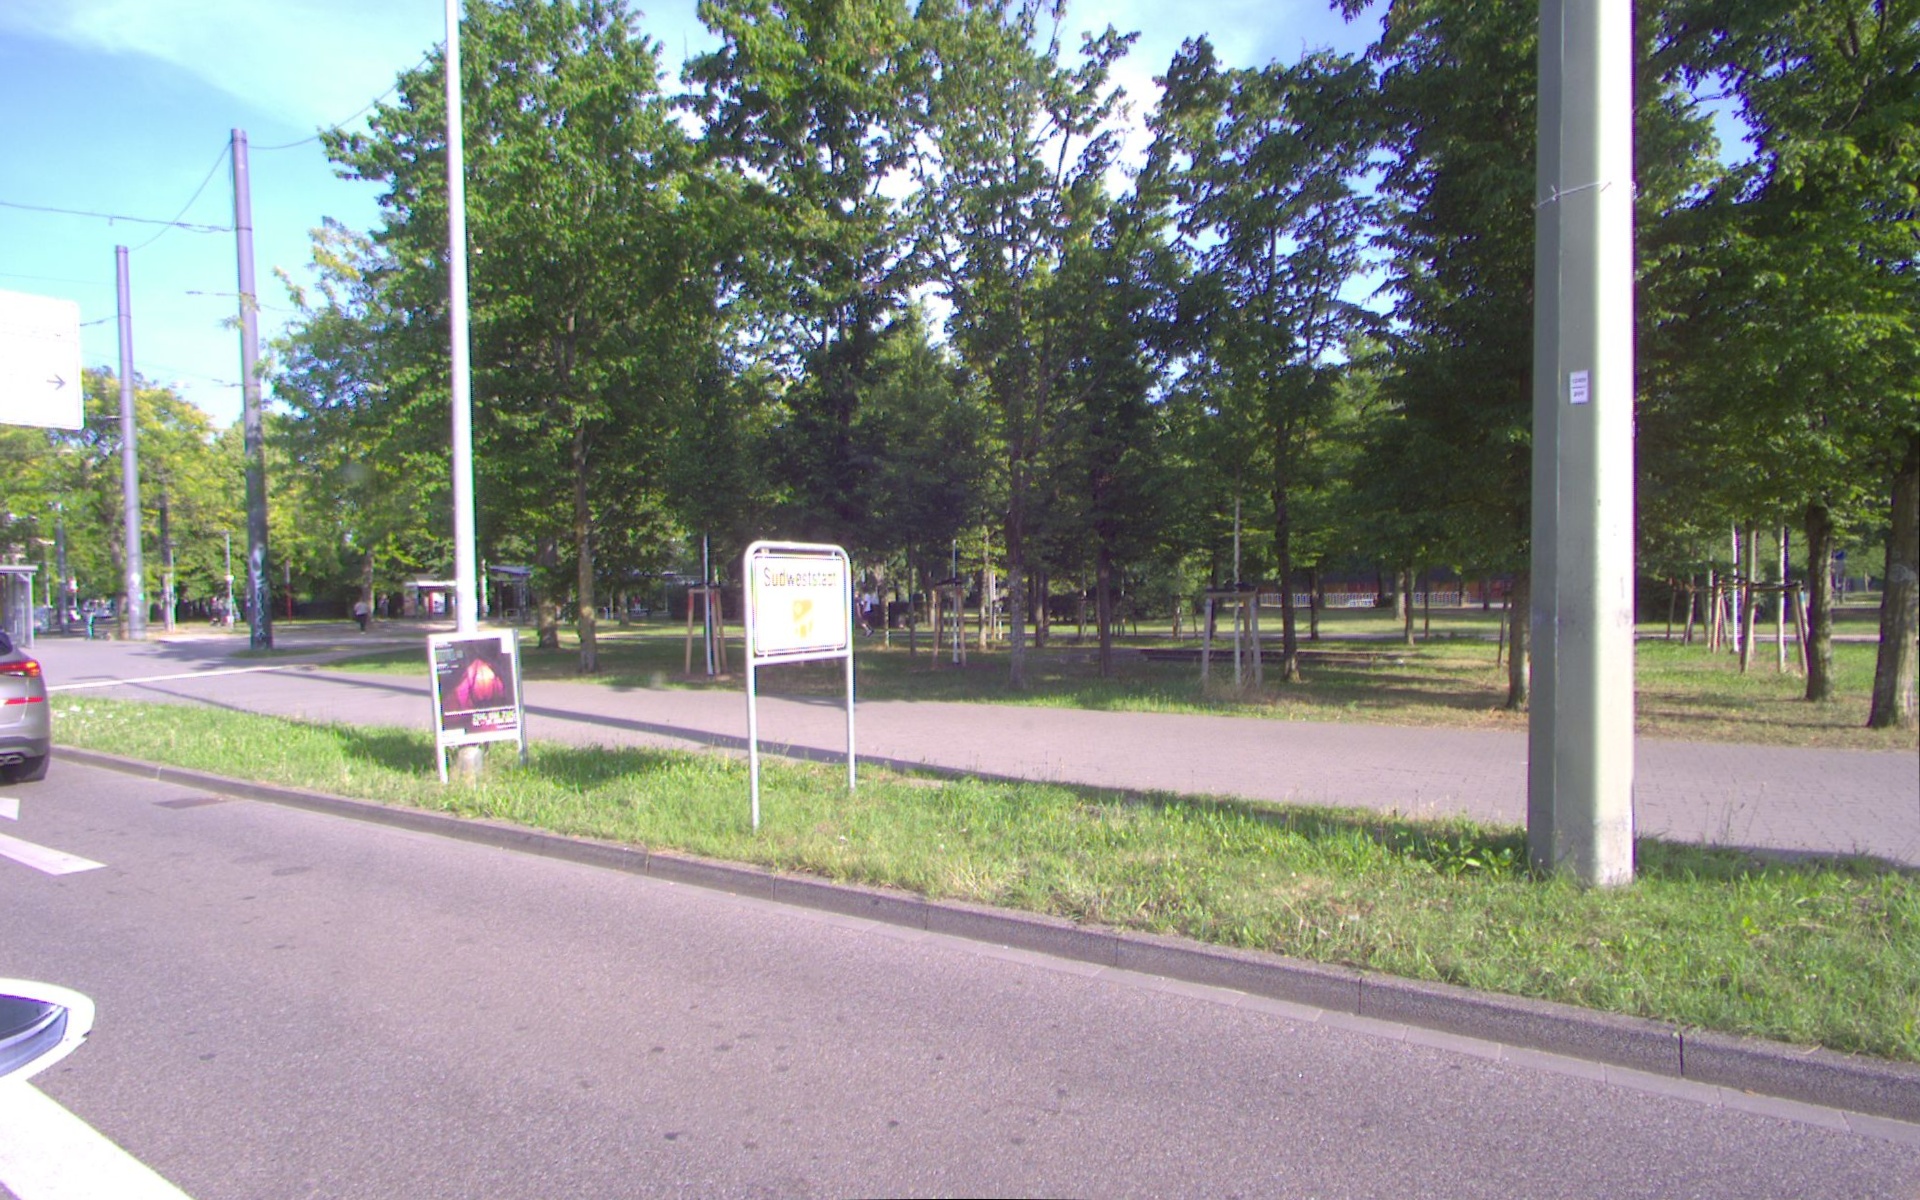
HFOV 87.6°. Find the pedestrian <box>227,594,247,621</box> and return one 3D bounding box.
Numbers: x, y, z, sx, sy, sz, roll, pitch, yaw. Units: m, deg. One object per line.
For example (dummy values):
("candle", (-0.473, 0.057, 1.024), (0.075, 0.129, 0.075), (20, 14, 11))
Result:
("pedestrian", (-40.003, 0.410, 55.411), (0.804, 1.508, 0.696), (-2, 1, -33))

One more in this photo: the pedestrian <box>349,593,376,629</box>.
("pedestrian", (-27.555, 0.511, 46.212), (0.793, 1.659, 0.754), (-1, 1, -7))

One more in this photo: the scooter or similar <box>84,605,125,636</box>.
("scooter or similar", (-31.462, 0.750, 36.811), (1.305, 1.132, 0.420), (-1, 1, 13))

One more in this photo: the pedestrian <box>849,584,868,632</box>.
("pedestrian", (-3.869, 0.309, 38.241), (0.617, 1.836, 0.502), (-1, 1, 6))

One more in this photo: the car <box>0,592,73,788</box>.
("car", (-9.985, 0.801, 9.143), (3.595, 1.673, 1.880), (-1, 1, 32))

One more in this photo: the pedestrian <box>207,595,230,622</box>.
("pedestrian", (-41.043, 0.465, 55.429), (0.687, 1.508, 0.815), (-1, 1, -9))

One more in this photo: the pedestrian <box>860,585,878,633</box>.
("pedestrian", (-3.564, 0.345, 39.272), (0.617, 1.836, 0.502), (-1, 1, 3))

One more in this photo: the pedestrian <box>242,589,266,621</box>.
("pedestrian", (-40.263, 0.297, 57.142), (0.826, 1.809, 0.798), (0, 1, 28))

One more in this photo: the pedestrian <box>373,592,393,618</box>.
("pedestrian", (-36.877, 0.296, 64.035), (0.792, 1.659, 0.832), (0, 1, 38))

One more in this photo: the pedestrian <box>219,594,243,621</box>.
("pedestrian", (-41.106, 0.420, 56.456), (0.688, 1.508, 0.813), (0, 1, 22))
